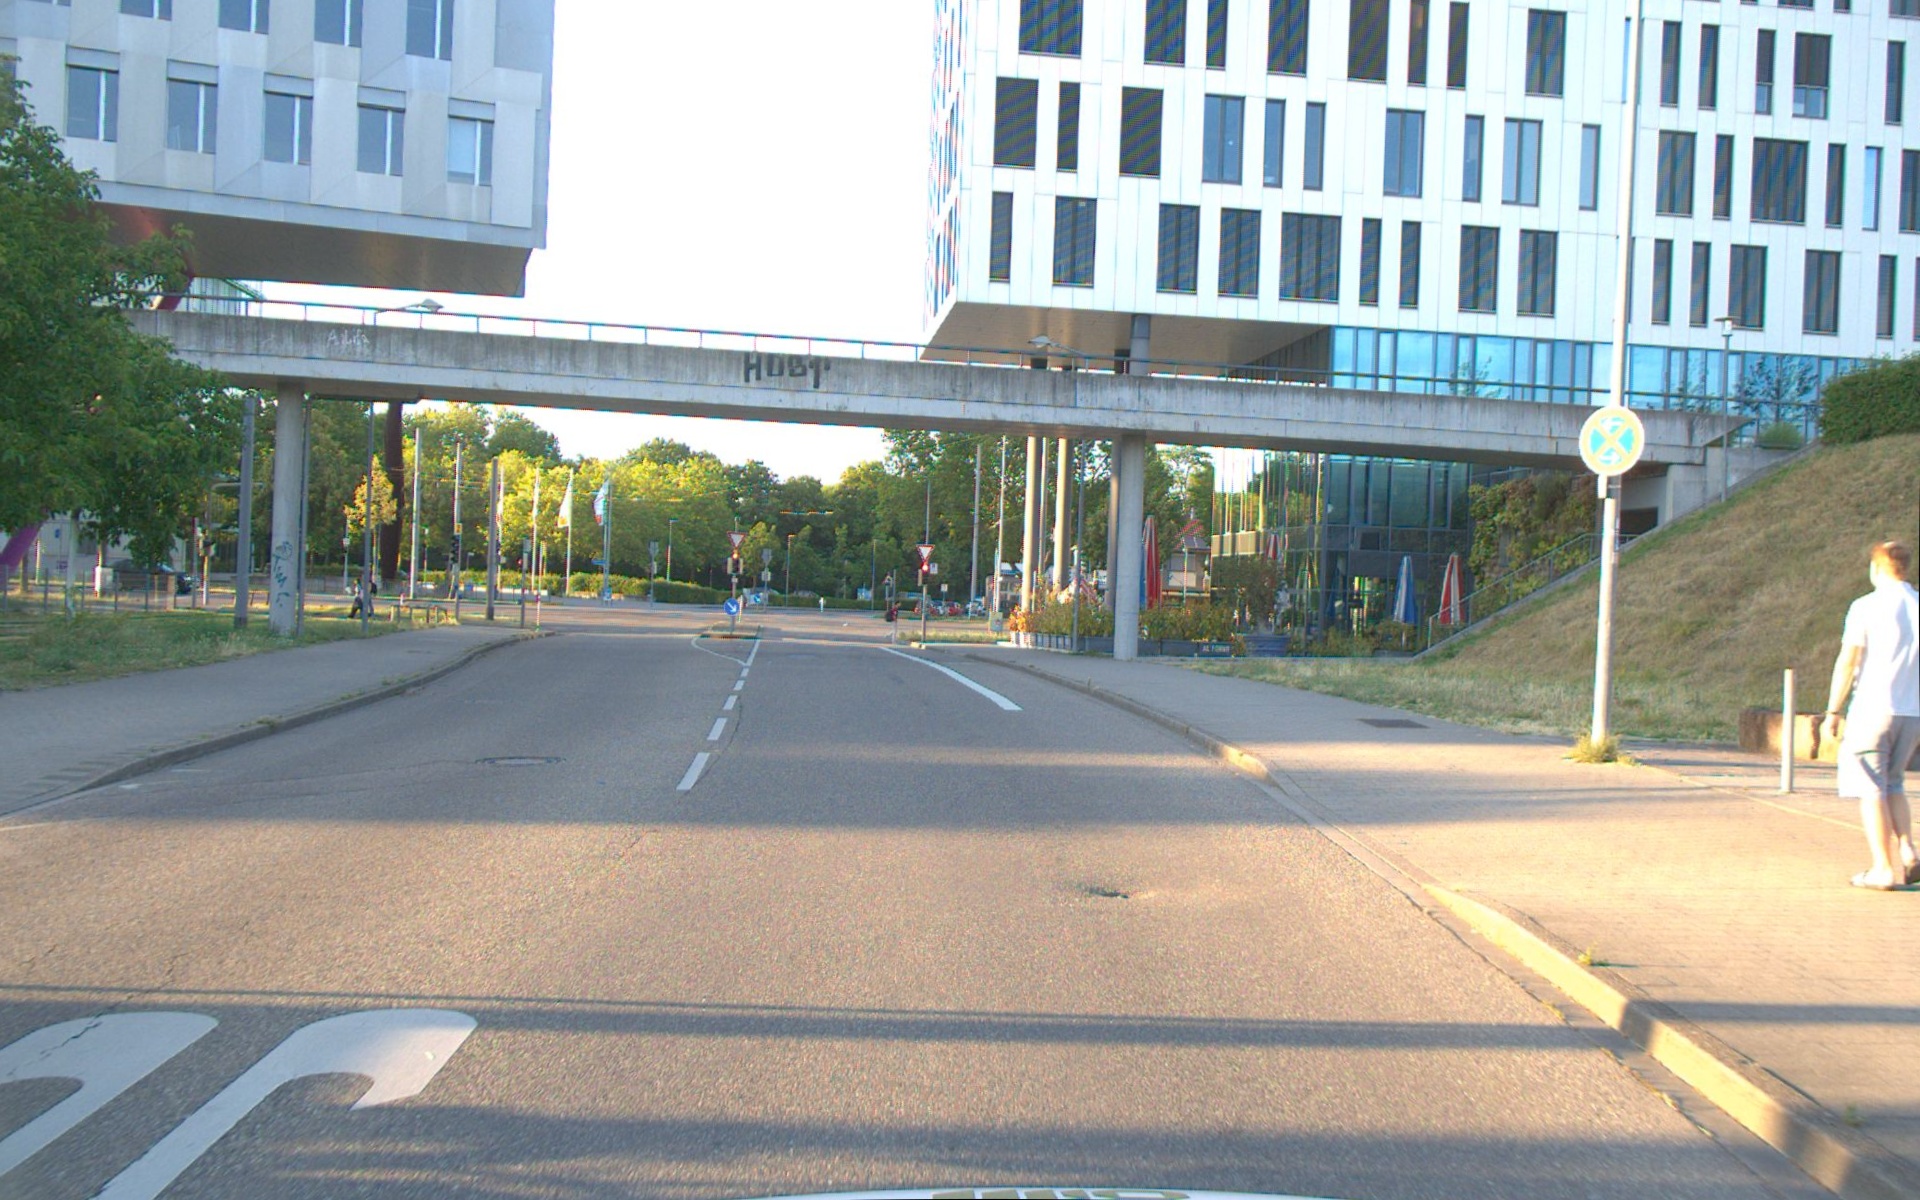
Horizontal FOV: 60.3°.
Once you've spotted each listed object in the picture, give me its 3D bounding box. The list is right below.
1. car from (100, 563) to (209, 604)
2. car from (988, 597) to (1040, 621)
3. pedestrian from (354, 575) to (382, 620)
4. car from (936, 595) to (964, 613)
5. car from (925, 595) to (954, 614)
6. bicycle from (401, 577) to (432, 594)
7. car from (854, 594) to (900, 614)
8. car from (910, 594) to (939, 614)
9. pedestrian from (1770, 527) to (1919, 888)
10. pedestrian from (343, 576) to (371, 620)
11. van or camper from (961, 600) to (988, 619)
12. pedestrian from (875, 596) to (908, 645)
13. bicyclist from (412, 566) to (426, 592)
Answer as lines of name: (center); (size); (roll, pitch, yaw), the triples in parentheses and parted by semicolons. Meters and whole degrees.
car: (-39.951, -0.837, 82.093); (4.383, 1.848, 1.942); (2, 1, -8)
car: (4.621, 0.761, 142.906); (4.376, 1.848, 1.945); (2, 1, 0)
pedestrian: (-22.797, -0.095, 63.671); (0.685, 1.693, 0.712); (2, 1, 11)
car: (-0.950, 0.380, 156.487); (1.466, 1.634, 3.404); (3, 1, 20)
car: (-1.902, 0.383, 153.038); (1.466, 1.634, 3.404); (3, 1, 20)
bicycle: (-37.576, -1.013, 114.360); (1.943, 1.148, 0.554); (2, 1, -32)
car: (-8.792, 0.428, 175.504); (4.588, 1.901, 2.013); (2, 1, 1)
car: (-3.184, 0.345, 149.205); (1.466, 1.791, 3.404); (3, 1, 20)
pedestrian: (4.865, 0.539, 8.668); (0.814, 1.797, 0.818); (-1, -1, 1)
pedestrian: (-22.921, -0.079, 62.897); (0.671, 1.652, 0.712); (2, 1, 11)
van or camper: (1.604, 1.019, 184.856); (1.592, 2.016, 3.805); (3, 1, 24)
pedestrian: (-2.712, 0.806, 65.613); (1.038, 1.866, 0.890); (2, 1, -19)
bicyclist: (-37.439, -1.481, 114.443); (0.749, 1.753, 0.546); (2, 1, -31)
